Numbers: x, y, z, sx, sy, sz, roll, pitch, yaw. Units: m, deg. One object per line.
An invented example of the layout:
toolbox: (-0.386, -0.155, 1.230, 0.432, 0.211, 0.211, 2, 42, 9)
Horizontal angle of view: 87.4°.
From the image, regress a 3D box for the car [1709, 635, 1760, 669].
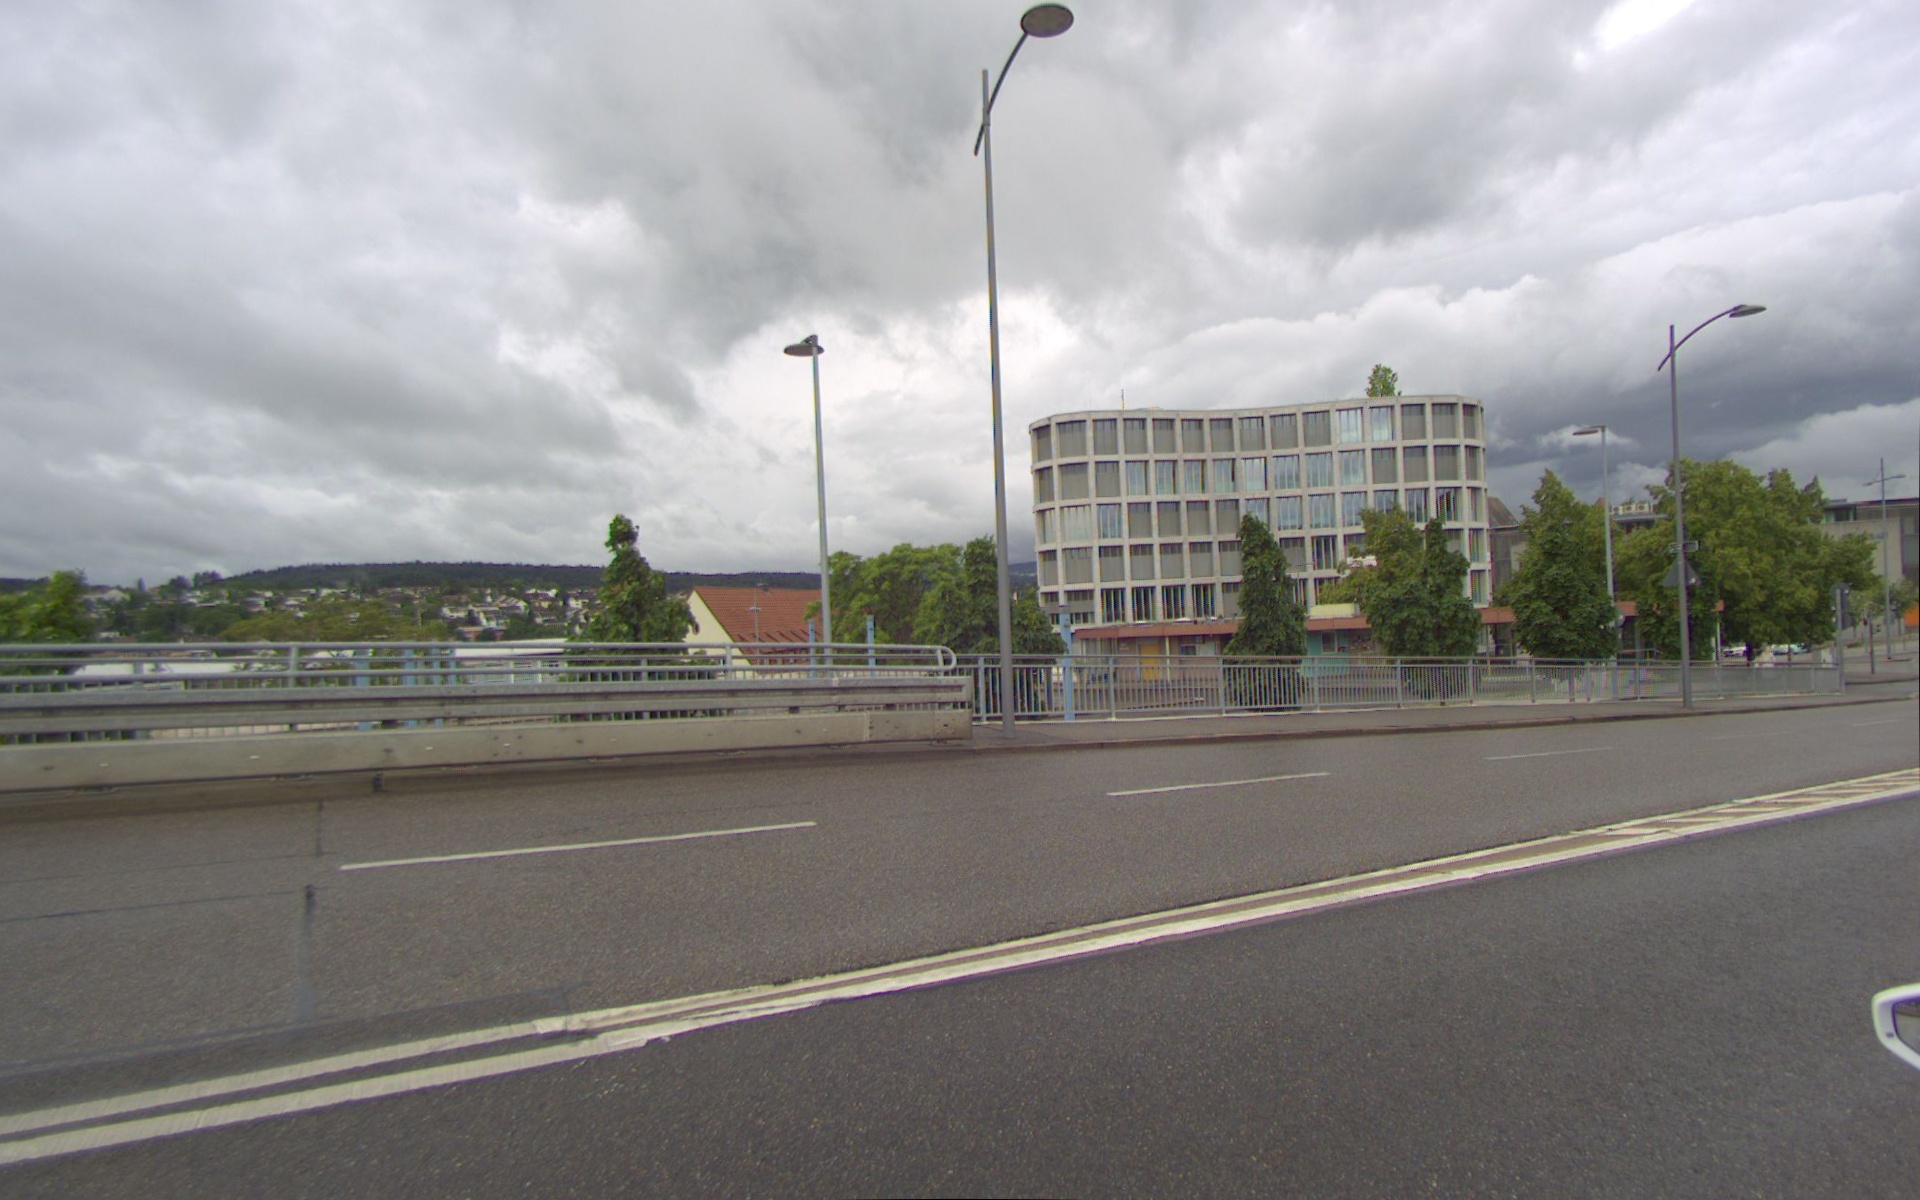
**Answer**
car: (56.216, 3.743, 72.978, 1.962, 2.041, 3.997, 3, 2, 24)

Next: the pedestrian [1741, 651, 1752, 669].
pedestrian: (38.081, 2.899, 48.645, 0.294, 0.885, 0.300, -1, -1, -27)

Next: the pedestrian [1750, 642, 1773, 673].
pedestrian: (38.387, 2.744, 48.108, 0.524, 1.427, 0.646, -1, -1, -27)
